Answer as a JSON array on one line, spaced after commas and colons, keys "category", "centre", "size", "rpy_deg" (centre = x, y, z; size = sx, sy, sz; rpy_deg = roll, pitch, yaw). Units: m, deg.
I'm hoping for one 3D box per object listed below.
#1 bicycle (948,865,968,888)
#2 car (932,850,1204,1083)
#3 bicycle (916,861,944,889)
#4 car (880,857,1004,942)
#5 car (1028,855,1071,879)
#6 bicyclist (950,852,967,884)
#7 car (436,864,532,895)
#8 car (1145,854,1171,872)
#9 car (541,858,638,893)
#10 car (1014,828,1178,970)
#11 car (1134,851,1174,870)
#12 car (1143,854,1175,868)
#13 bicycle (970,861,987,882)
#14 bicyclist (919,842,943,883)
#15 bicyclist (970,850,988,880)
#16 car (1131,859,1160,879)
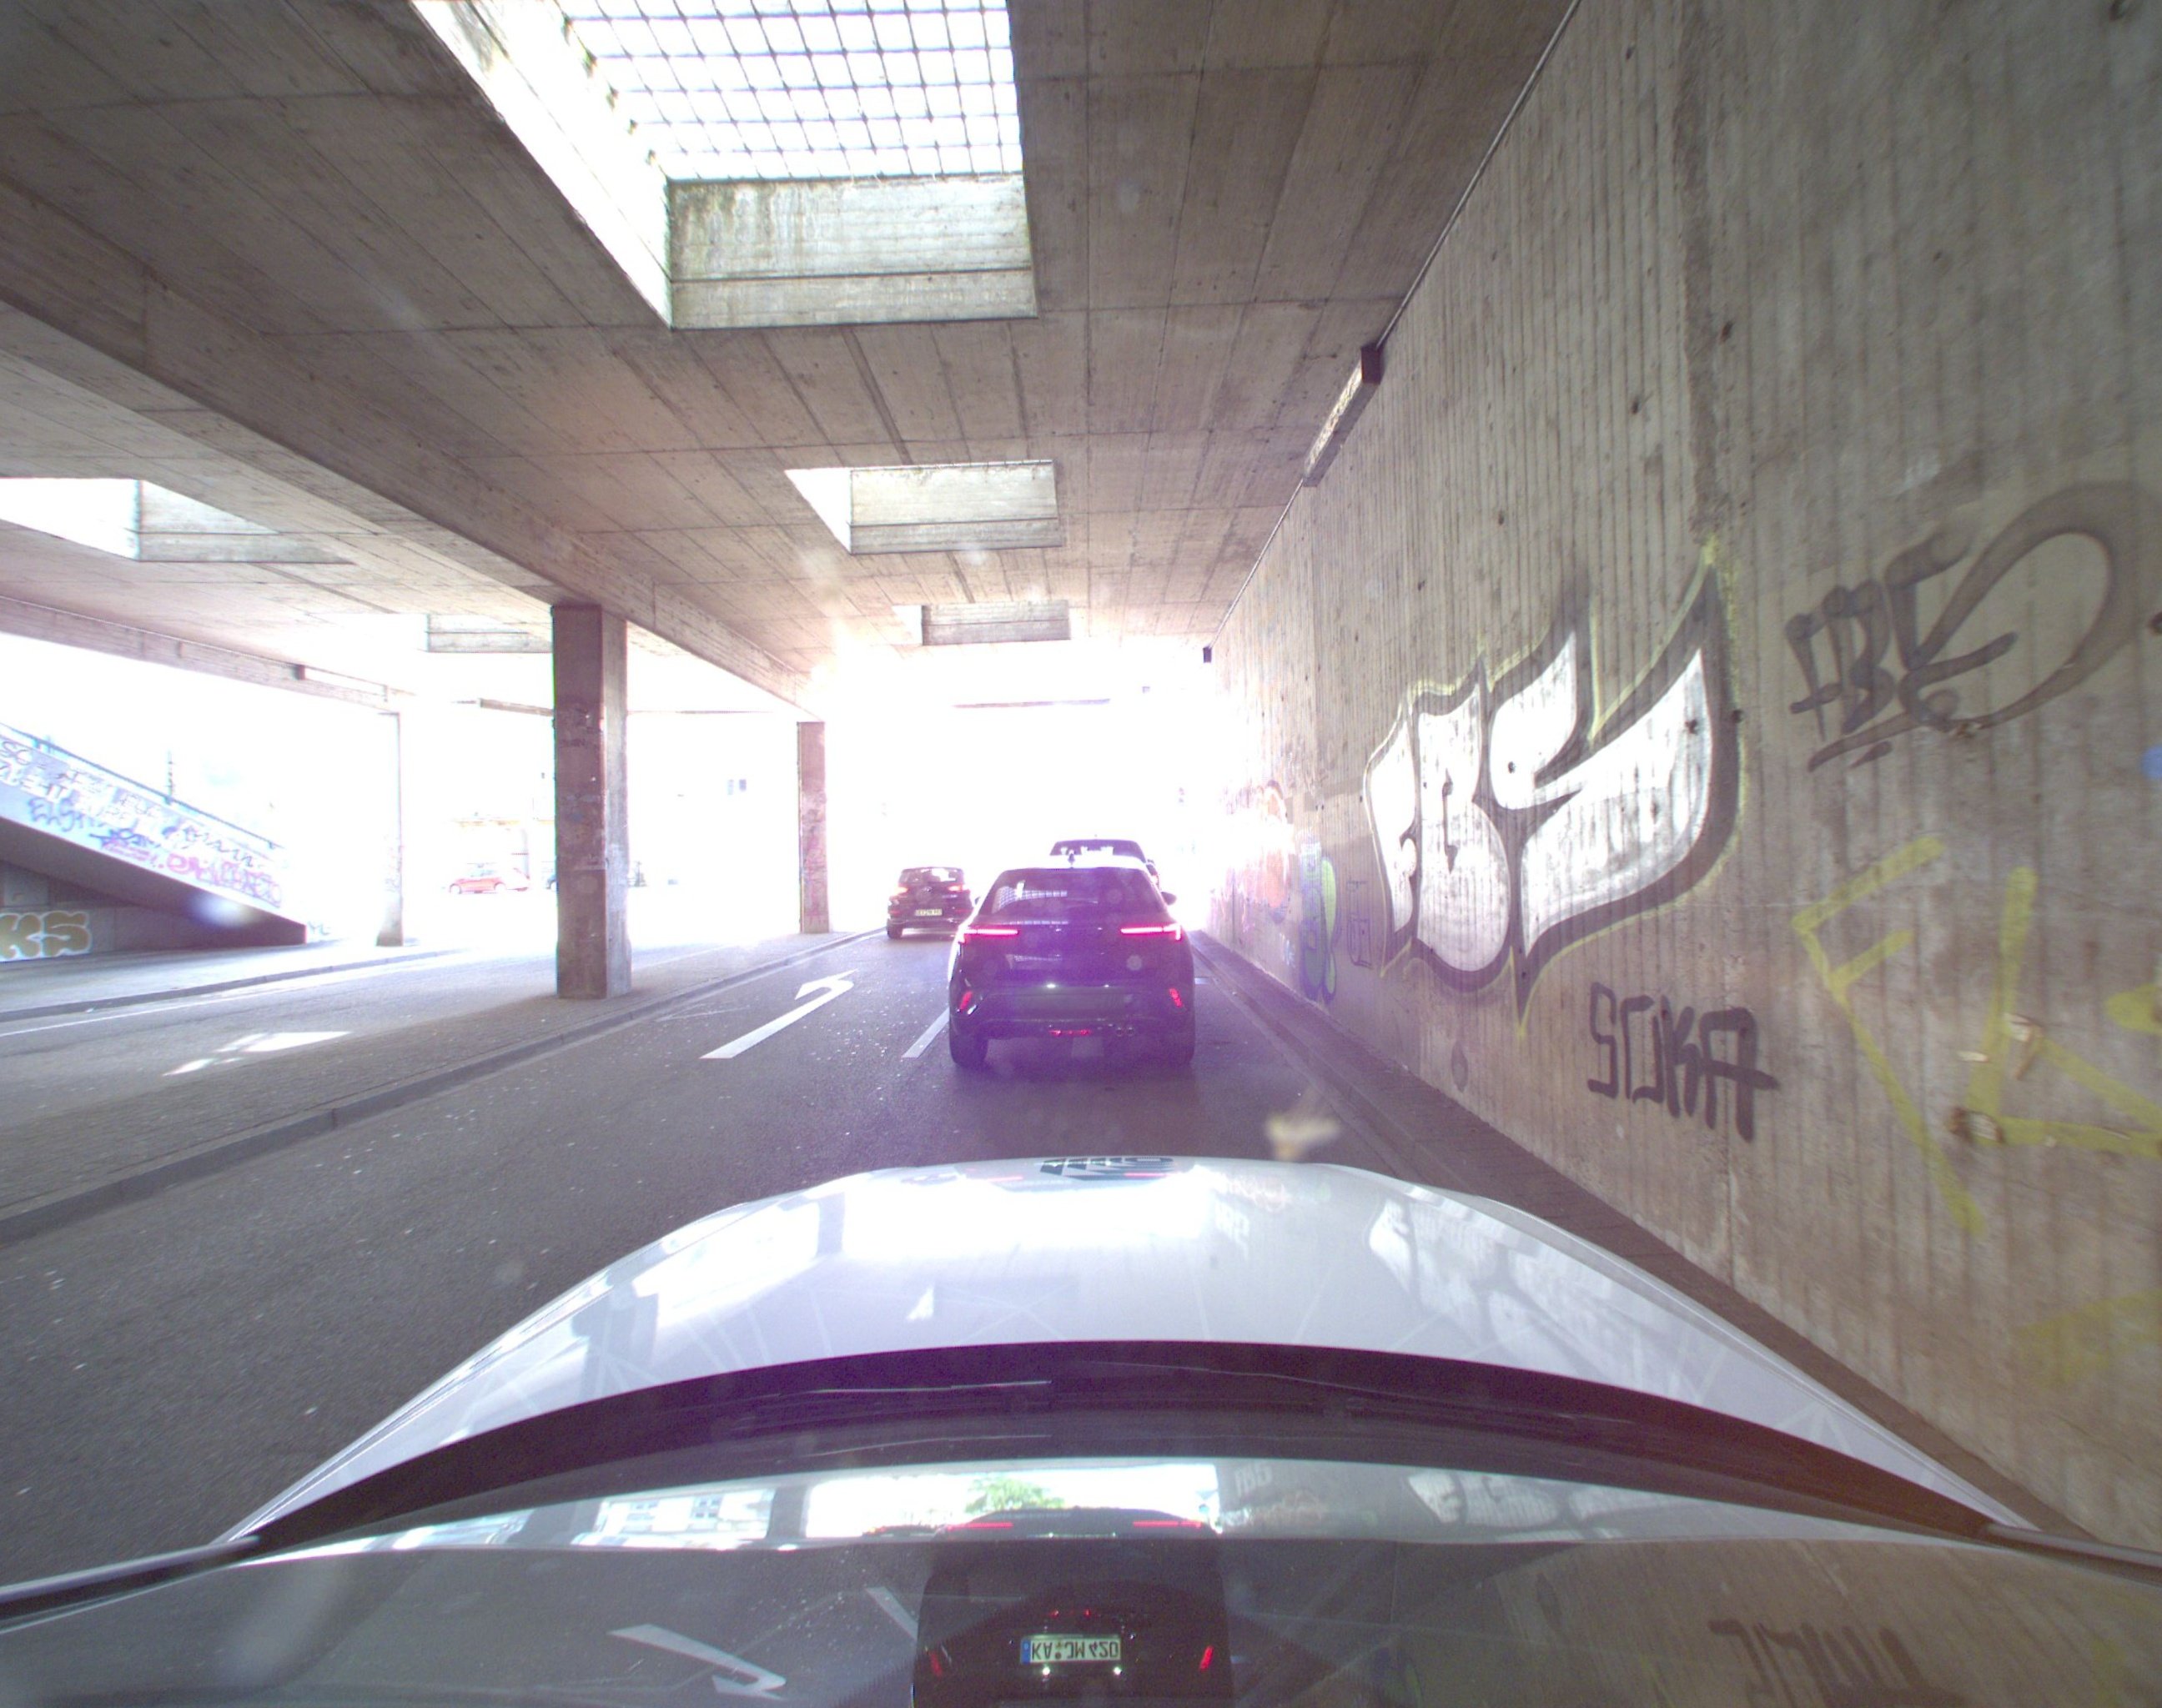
[{"category": "bicycle", "centre": [-6.378, 1.160, 42.384], "size": [0.523, 1.090, 1.864], "rpy_deg": [-1, 0, 7]}, {"category": "car", "centre": [-0.026, 0.742, 7.233], "size": [1.775, 1.517, 3.757], "rpy_deg": [-1, 0, 2]}, {"category": "bicycle", "centre": [-6.490, 0.890, 35.123], "size": [0.695, 1.090, 1.863], "rpy_deg": [-1, 2, 5]}, {"category": "car", "centre": [-2.717, 0.825, 16.840], "size": [1.795, 1.451, 4.325], "rpy_deg": [-2, 0, 0]}, {"category": "car", "centre": [-1.963, 0.815, 51.992], "size": [1.645, 1.441, 3.478], "rpy_deg": [-1, 0, 16]}, {"category": "bicyclist", "centre": [-6.392, 0.700, 42.468], "size": [0.602, 1.632, 0.911], "rpy_deg": [-1, 0, 7]}, {"category": "car", "centre": [-32.979, 1.403, 45.048], "size": [3.863, 1.540, 1.900], "rpy_deg": [-1, 1, 2]}, {"category": "car", "centre": [7.039, 0.800, 74.117], "size": [1.693, 1.512, 3.877], "rpy_deg": [-3, -1, 13]}, {"category": "car", "centre": [-27.194, 1.166, 45.169], "size": [4.144, 1.724, 1.964], "rpy_deg": [-1, 1, 2]}, {"category": "car", "centre": [0.250, 0.596, 13.251], "size": [2.125, 1.835, 4.941], "rpy_deg": [-1, 0, 1]}, {"category": "car", "centre": [10.430, 0.940, 115.995], "size": [5.267, 2.545, 1.976], "rpy_deg": [-2, -1, -14]}, {"category": "car", "centre": [12.807, 1.201, 133.844], "size": [4.905, 2.083, 1.970], "rpy_deg": [-2, -1, -23]}, {"category": "bicycle", "centre": [-5.755, 0.965, 45.879], "size": [0.539, 1.123, 2.060], "rpy_deg": [-1, 0, 3]}, {"category": "bicyclist", "centre": [-6.482, 0.373, 35.263], "size": [0.742, 1.711, 0.968], "rpy_deg": [-1, 1, 4]}, {"category": "bicyclist", "centre": [-5.726, 0.616, 45.851], "size": [0.778, 1.660, 1.032], "rpy_deg": [-1, 0, 3]}, {"category": "car", "centre": [5.308, 1.209, 66.337], "size": [1.695, 1.452, 3.865], "rpy_deg": [-1, 0, 14]}]
